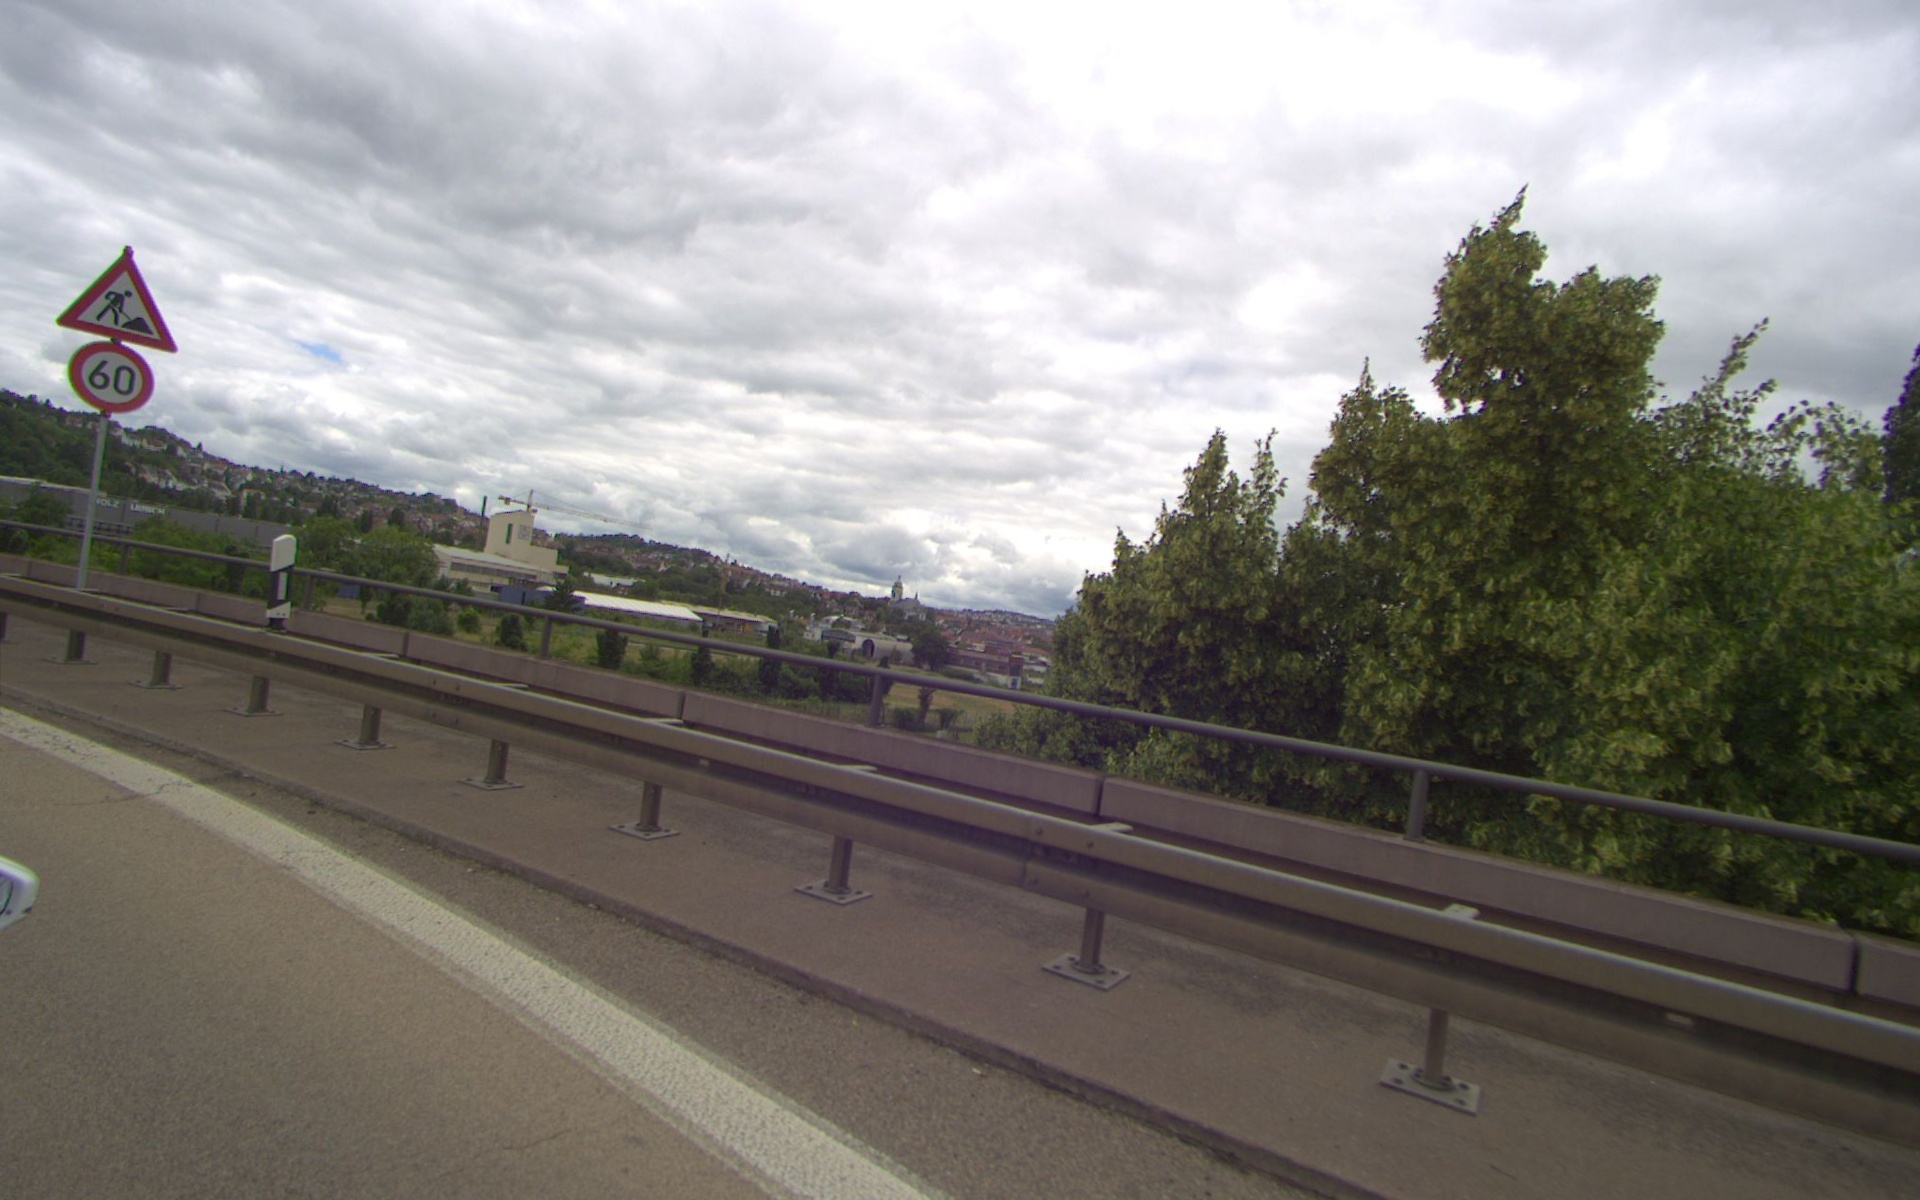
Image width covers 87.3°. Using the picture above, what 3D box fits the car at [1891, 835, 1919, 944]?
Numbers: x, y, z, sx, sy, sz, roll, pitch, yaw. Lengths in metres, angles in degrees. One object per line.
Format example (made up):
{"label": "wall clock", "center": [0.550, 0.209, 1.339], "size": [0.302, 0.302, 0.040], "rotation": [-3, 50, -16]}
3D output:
{"label": "car", "center": [15.118, 4.324, 13.119], "size": [1.712, 1.495, 3.994], "rotation": [11, -4, -13]}
